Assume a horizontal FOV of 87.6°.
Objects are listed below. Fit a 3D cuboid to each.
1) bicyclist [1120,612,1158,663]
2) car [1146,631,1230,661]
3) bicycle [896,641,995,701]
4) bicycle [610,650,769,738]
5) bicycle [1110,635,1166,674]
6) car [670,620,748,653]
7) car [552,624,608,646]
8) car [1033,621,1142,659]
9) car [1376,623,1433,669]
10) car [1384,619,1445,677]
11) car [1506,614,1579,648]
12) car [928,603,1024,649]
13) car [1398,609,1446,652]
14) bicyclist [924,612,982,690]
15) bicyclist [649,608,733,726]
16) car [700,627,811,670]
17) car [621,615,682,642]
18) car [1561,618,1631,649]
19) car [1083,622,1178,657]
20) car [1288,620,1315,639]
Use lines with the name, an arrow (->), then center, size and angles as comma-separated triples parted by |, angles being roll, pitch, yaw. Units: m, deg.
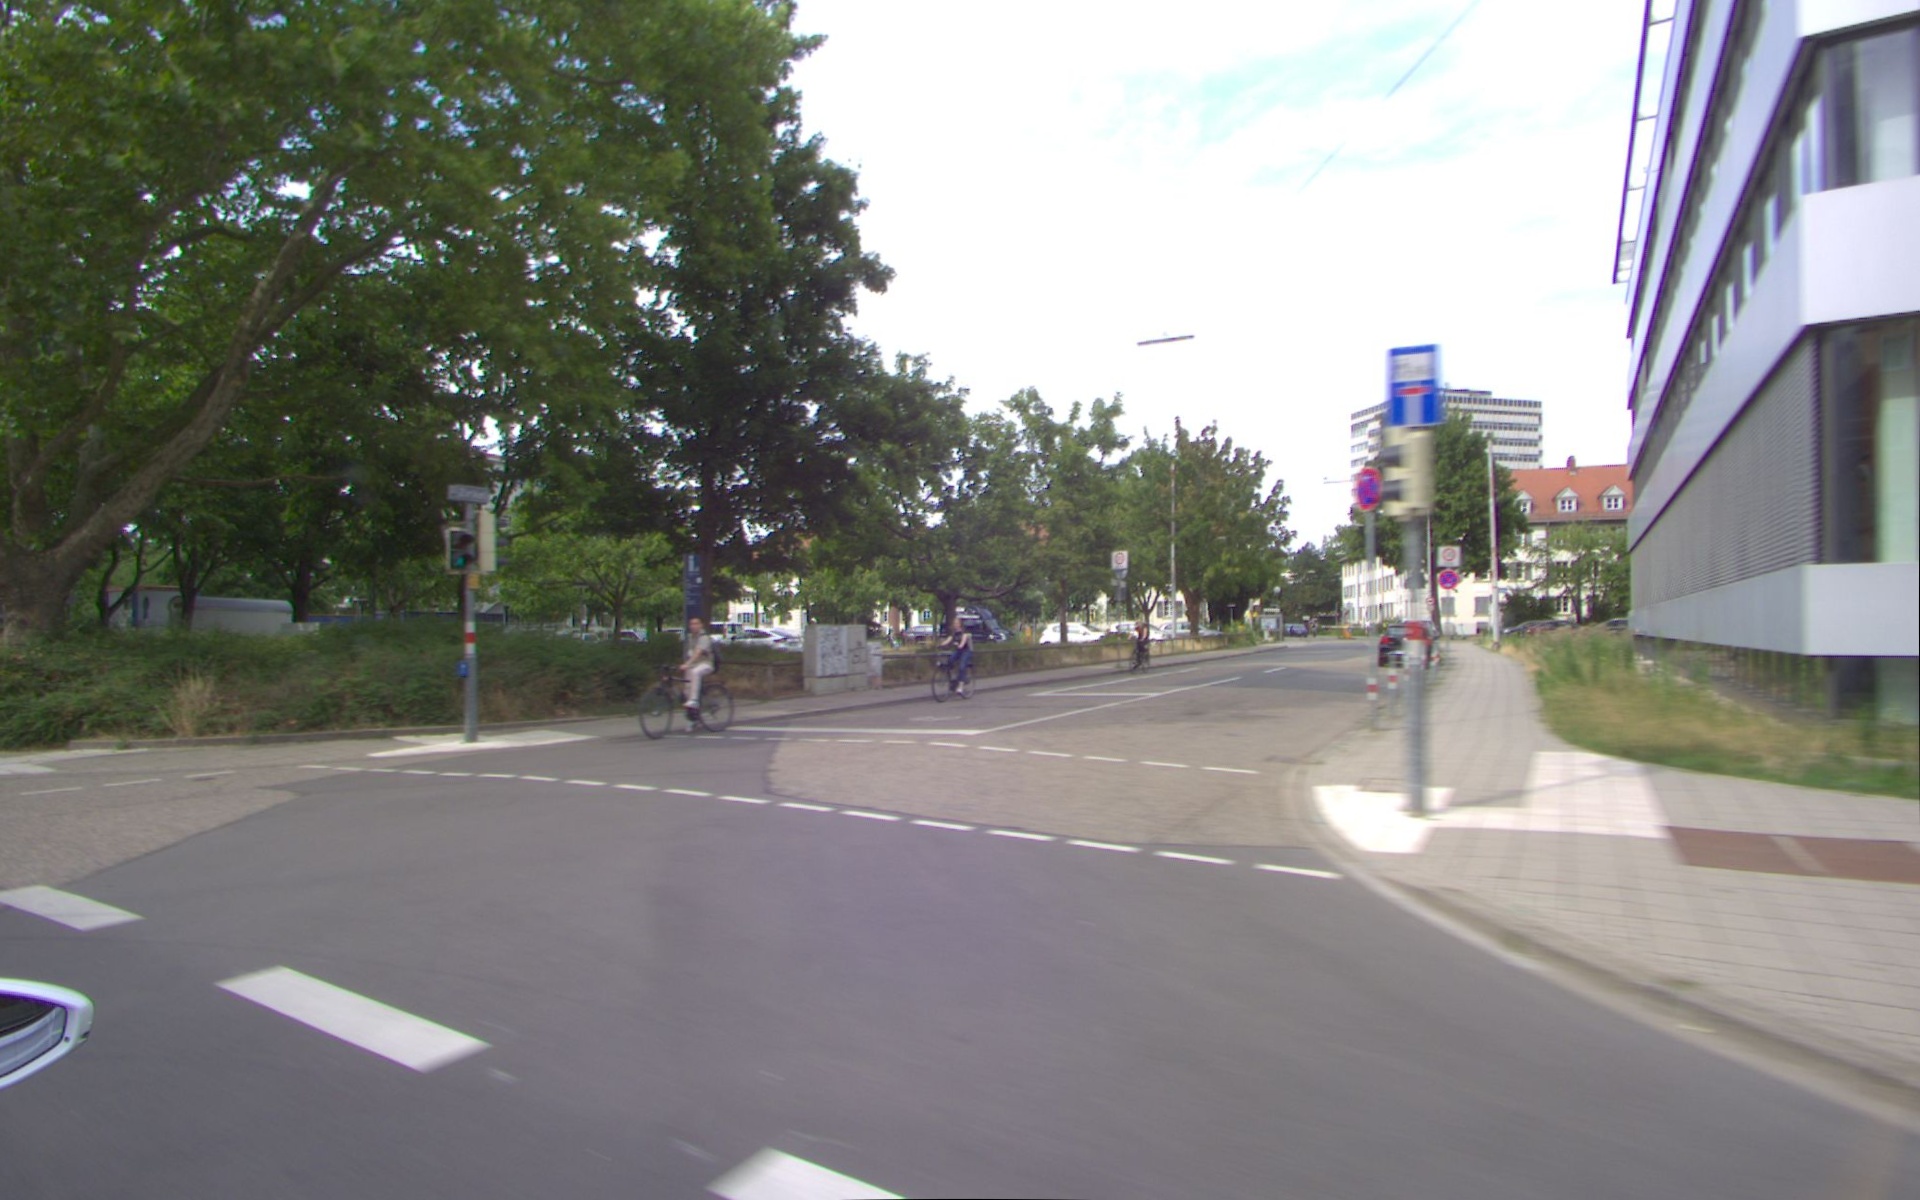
bicyclist -> 5.620, 1.184, 31.492 | 0.903, 1.596, 0.827 | -2, -2, 33
car -> 14.168, 2.858, 62.214 | 4.701, 1.816, 1.993 | -1, -3, 29
bicycle -> -0.275, 1.465, 21.090 | 0.904, 1.187, 2.237 | -2, -3, 36
bicycle -> -4.011, 1.359, 15.023 | 0.904, 1.187, 2.237 | -2, -3, 36
bicycle -> 5.610, 1.697, 31.452 | 0.903, 1.187, 2.240 | -2, -3, 33
car -> -16.217, 2.336, 64.607 | 4.698, 2.038, 1.994 | -1, -3, 28
car -> -28.494, 2.620, 75.117 | 3.732, 1.600, 1.993 | -1, -3, 29
car -> 5.953, 1.880, 47.095 | 4.707, 1.650, 1.990 | -1, -3, 34
car -> 14.756, 1.552, 33.368 | 1.648, 1.462, 3.645 | 0, -3, 23
car -> 16.969, 1.825, 37.504 | 1.966, 2.038, 3.993 | 0, -3, 23
car -> 36.802, 1.976, 63.269 | 3.943, 2.038, 1.991 | -1, -3, 33
car -> 0.963, 1.616, 61.754 | 5.414, 2.646, 2.434 | -1, -3, 30
car -> 21.609, 1.455, 46.959 | 1.921, 1.884, 3.872 | 0, -3, 23
bicyclist -> -0.156, 1.083, 21.271 | 0.904, 1.596, 0.826 | -2, -2, 37
bicyclist -> -4.035, 0.998, 15.021 | 0.904, 1.699, 0.826 | -2, -2, 37
car -> -9.165, 2.146, 44.727 | 4.701, 1.816, 1.993 | -1, -3, 29
car -> -25.146, 2.330, 81.569 | 4.701, 2.038, 1.993 | -1, -3, 29
car -> 42.965, 2.270, 67.720 | 3.944, 2.038, 1.991 | -1, -3, 33
car -> 9.187, 2.145, 54.008 | 4.701, 1.816, 1.993 | -1, -3, 30
car -> 29.538, 2.587, 86.711 | 1.687, 1.471, 4.001 | 1, -3, 11
